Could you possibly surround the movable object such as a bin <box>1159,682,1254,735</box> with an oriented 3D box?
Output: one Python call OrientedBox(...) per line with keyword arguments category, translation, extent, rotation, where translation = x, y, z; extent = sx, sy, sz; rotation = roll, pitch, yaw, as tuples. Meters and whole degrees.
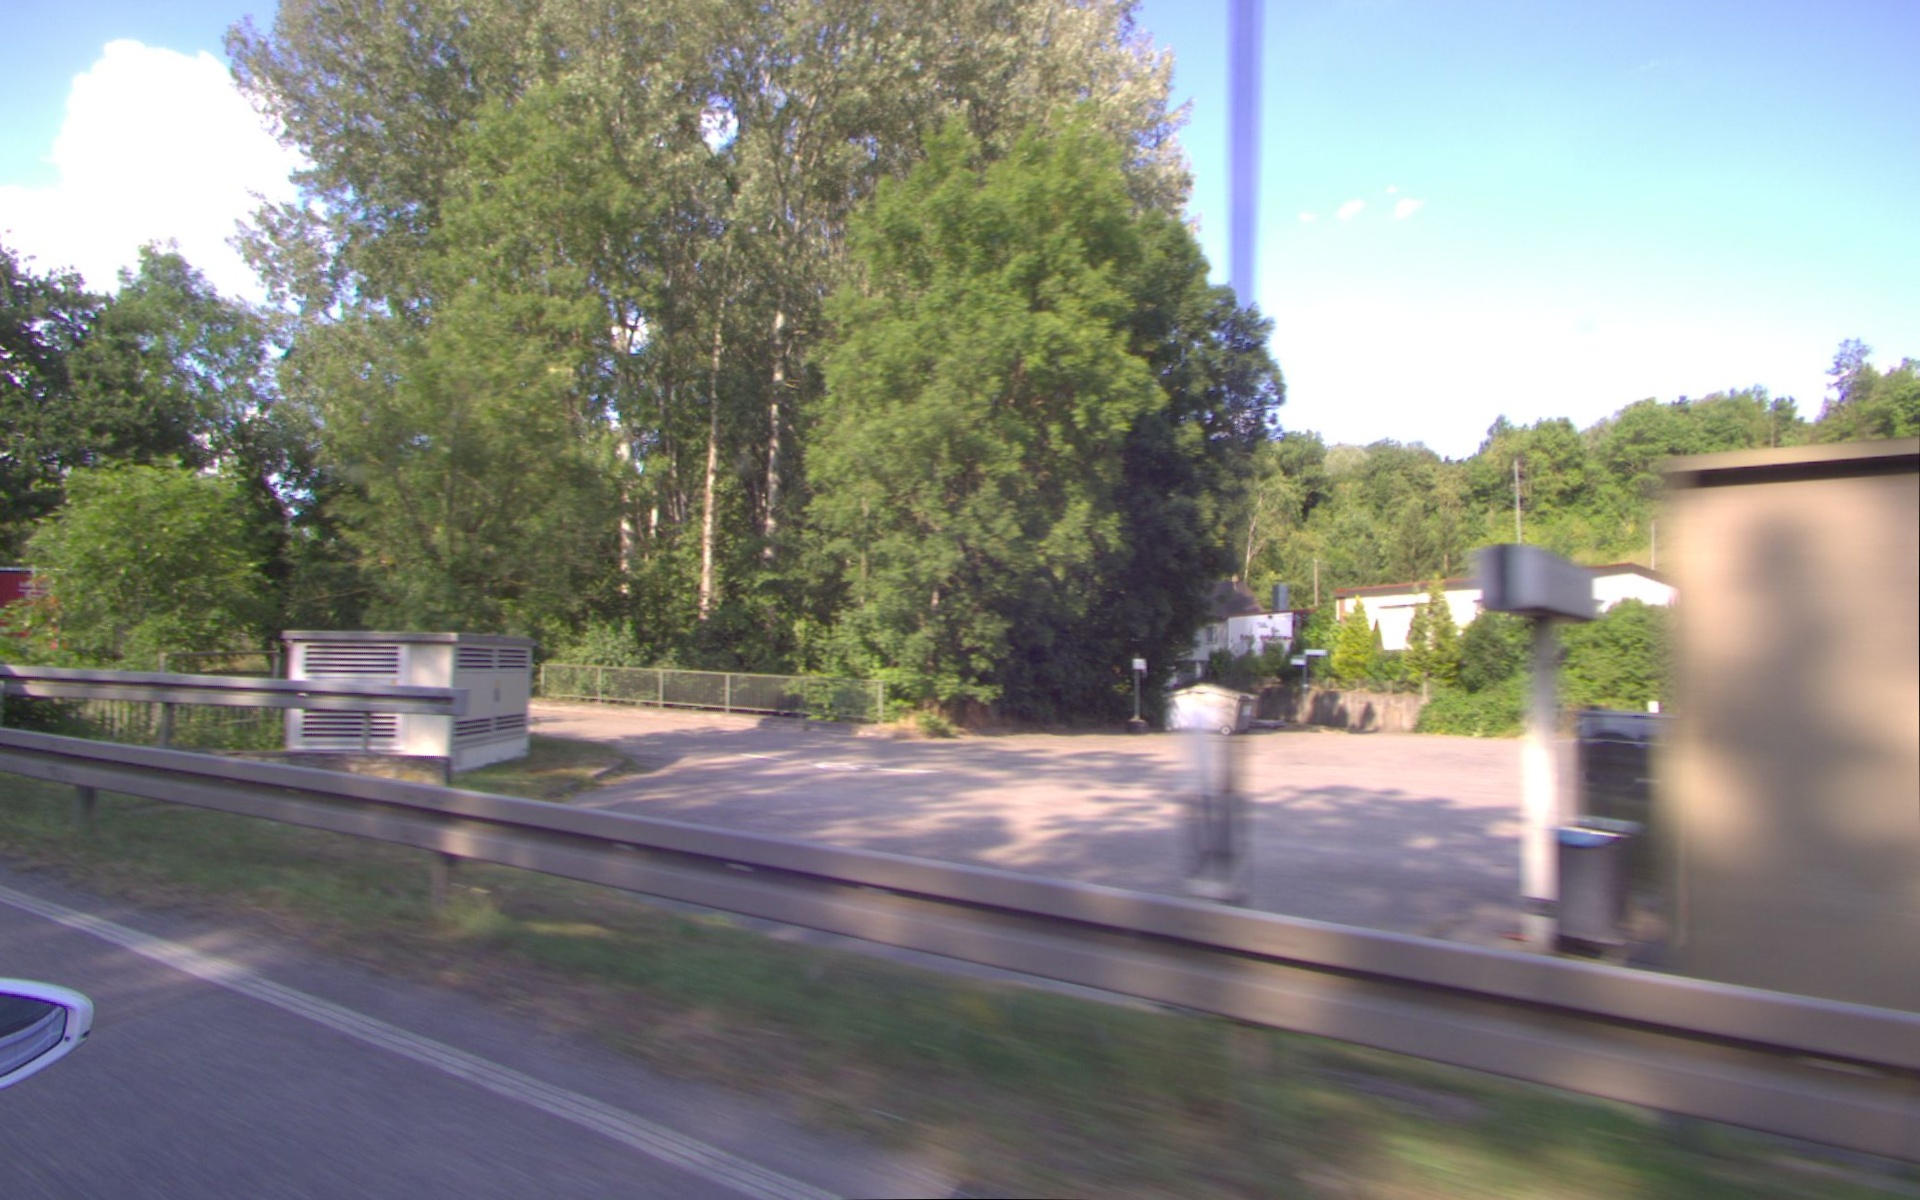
OrientedBox(category="movable object such as a bin", translation=(7.390, 3.245, 30.025), extent=(2.519, 1.436, 1.266), rotation=(0, -5, 30))
